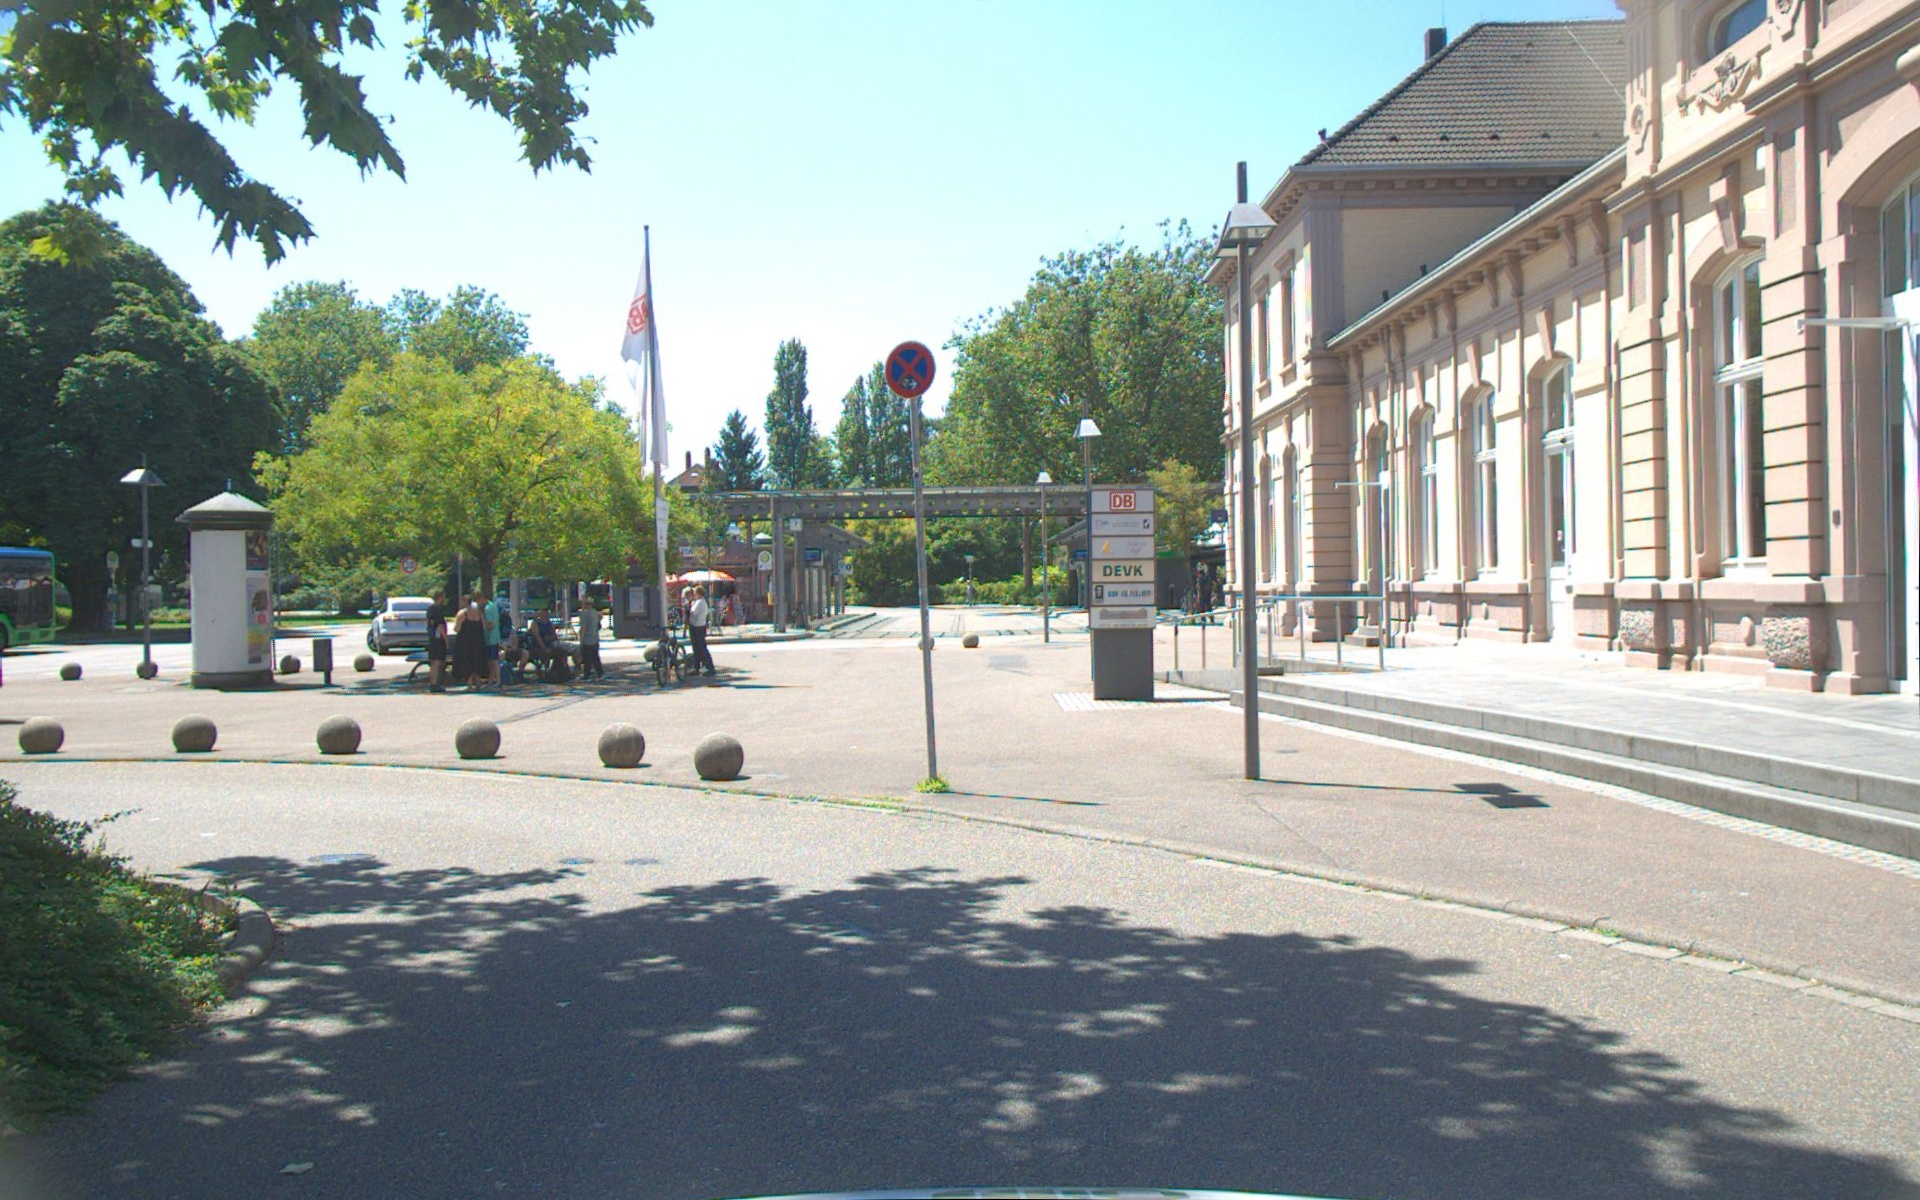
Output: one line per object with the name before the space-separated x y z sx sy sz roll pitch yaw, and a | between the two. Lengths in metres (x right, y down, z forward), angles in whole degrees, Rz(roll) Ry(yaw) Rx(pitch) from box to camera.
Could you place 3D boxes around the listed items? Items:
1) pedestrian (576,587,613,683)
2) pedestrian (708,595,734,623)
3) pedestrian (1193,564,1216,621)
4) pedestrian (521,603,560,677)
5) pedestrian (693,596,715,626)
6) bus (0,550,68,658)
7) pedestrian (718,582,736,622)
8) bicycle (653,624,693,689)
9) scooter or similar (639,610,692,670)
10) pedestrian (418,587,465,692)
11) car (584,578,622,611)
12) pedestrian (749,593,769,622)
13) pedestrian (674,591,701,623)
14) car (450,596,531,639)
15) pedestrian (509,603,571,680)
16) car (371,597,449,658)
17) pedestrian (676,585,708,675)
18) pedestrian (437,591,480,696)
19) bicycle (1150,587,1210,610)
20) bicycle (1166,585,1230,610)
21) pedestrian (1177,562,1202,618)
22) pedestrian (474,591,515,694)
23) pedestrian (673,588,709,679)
pedestrian | -6.833 0.646 30.950 0.505 1.770 0.565 -1 0 -29
pedestrian | -10.216 0.384 70.612 0.884 1.181 0.680 -1 0 -35
pedestrian | 8.091 -0.256 54.677 0.616 1.841 0.596 -1 0 21
pedestrian | -8.182 0.771 32.261 0.591 1.388 0.594 -2 1 -28
pedestrian | -10.297 0.443 66.596 0.672 1.181 0.895 -1 0 4
bus | -30.847 0.180 48.386 2.751 3.340 12.425 -1 1 0
pedestrian | -10.425 0.081 74.064 0.672 1.768 0.707 -1 0 0
bicycle | -5.149 0.993 29.742 0.412 1.078 1.948 -1 0 -2
scooter or similar | -5.882 0.788 33.031 1.005 1.159 0.294 -1 0 -8
pedestrian | -9.062 0.672 28.901 0.683 1.794 0.580 -1 0 -26
car | -25.386 -0.408 117.801 2.160 2.211 4.875 -1 1 -7
pedestrian | -8.521 0.317 70.057 0.743 1.226 0.737 1 0 0
pedestrian | -11.649 0.282 70.706 0.884 1.335 0.680 -1 0 -35
car | -18.860 0.679 66.698 1.888 1.485 4.724 -4 0 -1
pedestrian | -7.899 0.767 31.073 0.900 1.410 0.935 -1 0 -30
car | -16.335 0.779 49.284 1.951 1.655 4.757 -2 1 -16
pedestrian | -5.241 0.578 32.308 0.543 1.714 0.585 -1 0 -12
pedestrian | -8.638 0.739 28.485 0.618 1.770 0.543 -1 0 -26
bicycle | 10.522 -0.079 79.176 2.730 1.021 0.811 1 0 -2
bicycle | 10.536 -0.103 73.275 2.730 1.021 0.811 1 0 -2
pedestrian | 7.733 -0.339 55.714 0.674 1.841 0.632 -1 0 21
pedestrian | -8.156 0.738 28.984 0.576 1.770 0.595 -1 0 -26
pedestrian | -5.138 0.634 31.577 0.606 1.714 0.589 -1 0 -12
